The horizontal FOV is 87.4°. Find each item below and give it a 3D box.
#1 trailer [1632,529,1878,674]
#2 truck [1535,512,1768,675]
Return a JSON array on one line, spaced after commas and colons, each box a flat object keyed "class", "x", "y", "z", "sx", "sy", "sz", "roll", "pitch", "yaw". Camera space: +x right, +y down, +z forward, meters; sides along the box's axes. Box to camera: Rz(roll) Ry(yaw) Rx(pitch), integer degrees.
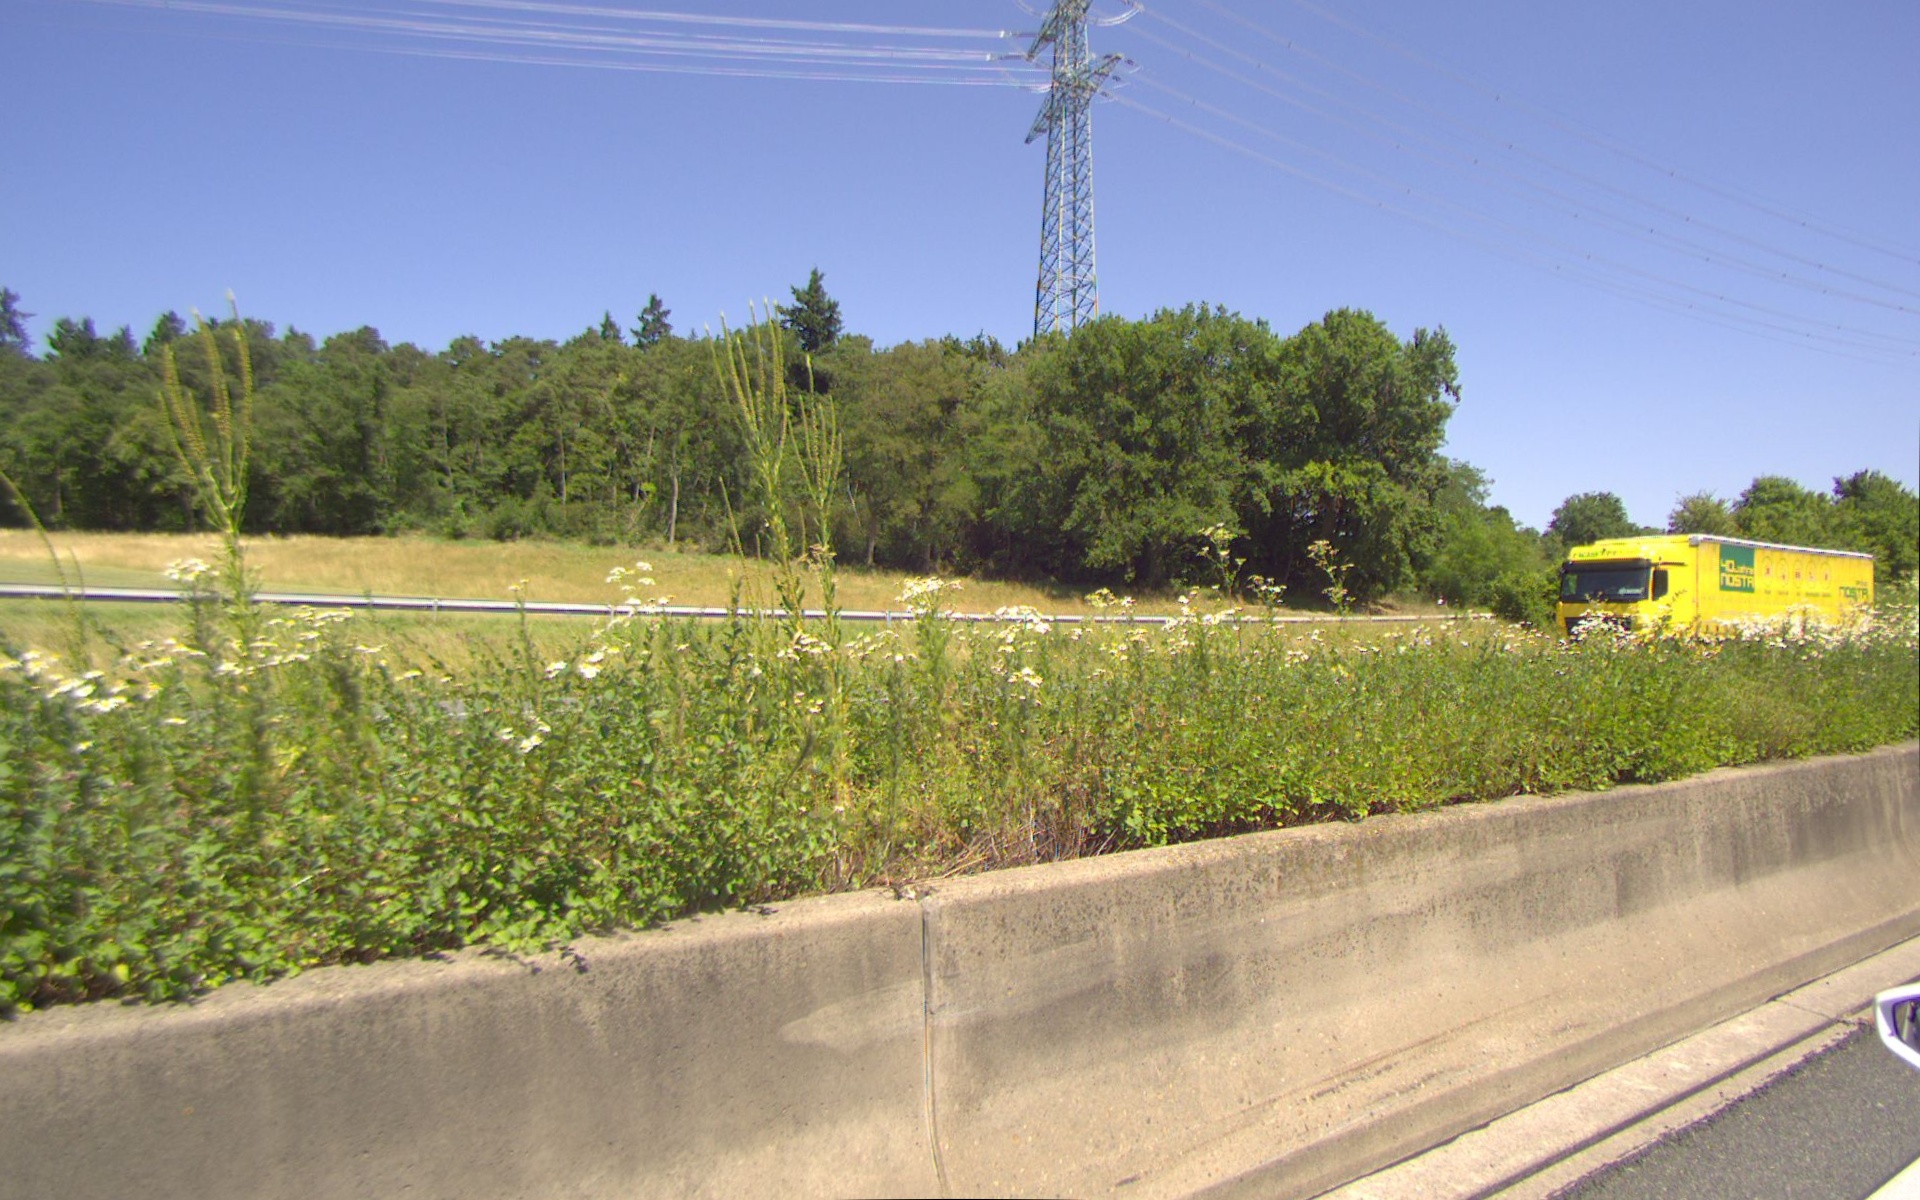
[{"class": "trailer", "x": 26.525, "y": 0.188, "z": 33.287, "sx": 10.566, "sy": 4.262, "sz": 2.806, "roll": 2, "pitch": 1, "yaw": -32}, {"class": "truck", "x": 20.375, "y": -0.077, "z": 29.490, "sx": 7.242, "sy": 4.293, "sz": 2.763, "roll": 2, "pitch": 1, "yaw": -31}]
